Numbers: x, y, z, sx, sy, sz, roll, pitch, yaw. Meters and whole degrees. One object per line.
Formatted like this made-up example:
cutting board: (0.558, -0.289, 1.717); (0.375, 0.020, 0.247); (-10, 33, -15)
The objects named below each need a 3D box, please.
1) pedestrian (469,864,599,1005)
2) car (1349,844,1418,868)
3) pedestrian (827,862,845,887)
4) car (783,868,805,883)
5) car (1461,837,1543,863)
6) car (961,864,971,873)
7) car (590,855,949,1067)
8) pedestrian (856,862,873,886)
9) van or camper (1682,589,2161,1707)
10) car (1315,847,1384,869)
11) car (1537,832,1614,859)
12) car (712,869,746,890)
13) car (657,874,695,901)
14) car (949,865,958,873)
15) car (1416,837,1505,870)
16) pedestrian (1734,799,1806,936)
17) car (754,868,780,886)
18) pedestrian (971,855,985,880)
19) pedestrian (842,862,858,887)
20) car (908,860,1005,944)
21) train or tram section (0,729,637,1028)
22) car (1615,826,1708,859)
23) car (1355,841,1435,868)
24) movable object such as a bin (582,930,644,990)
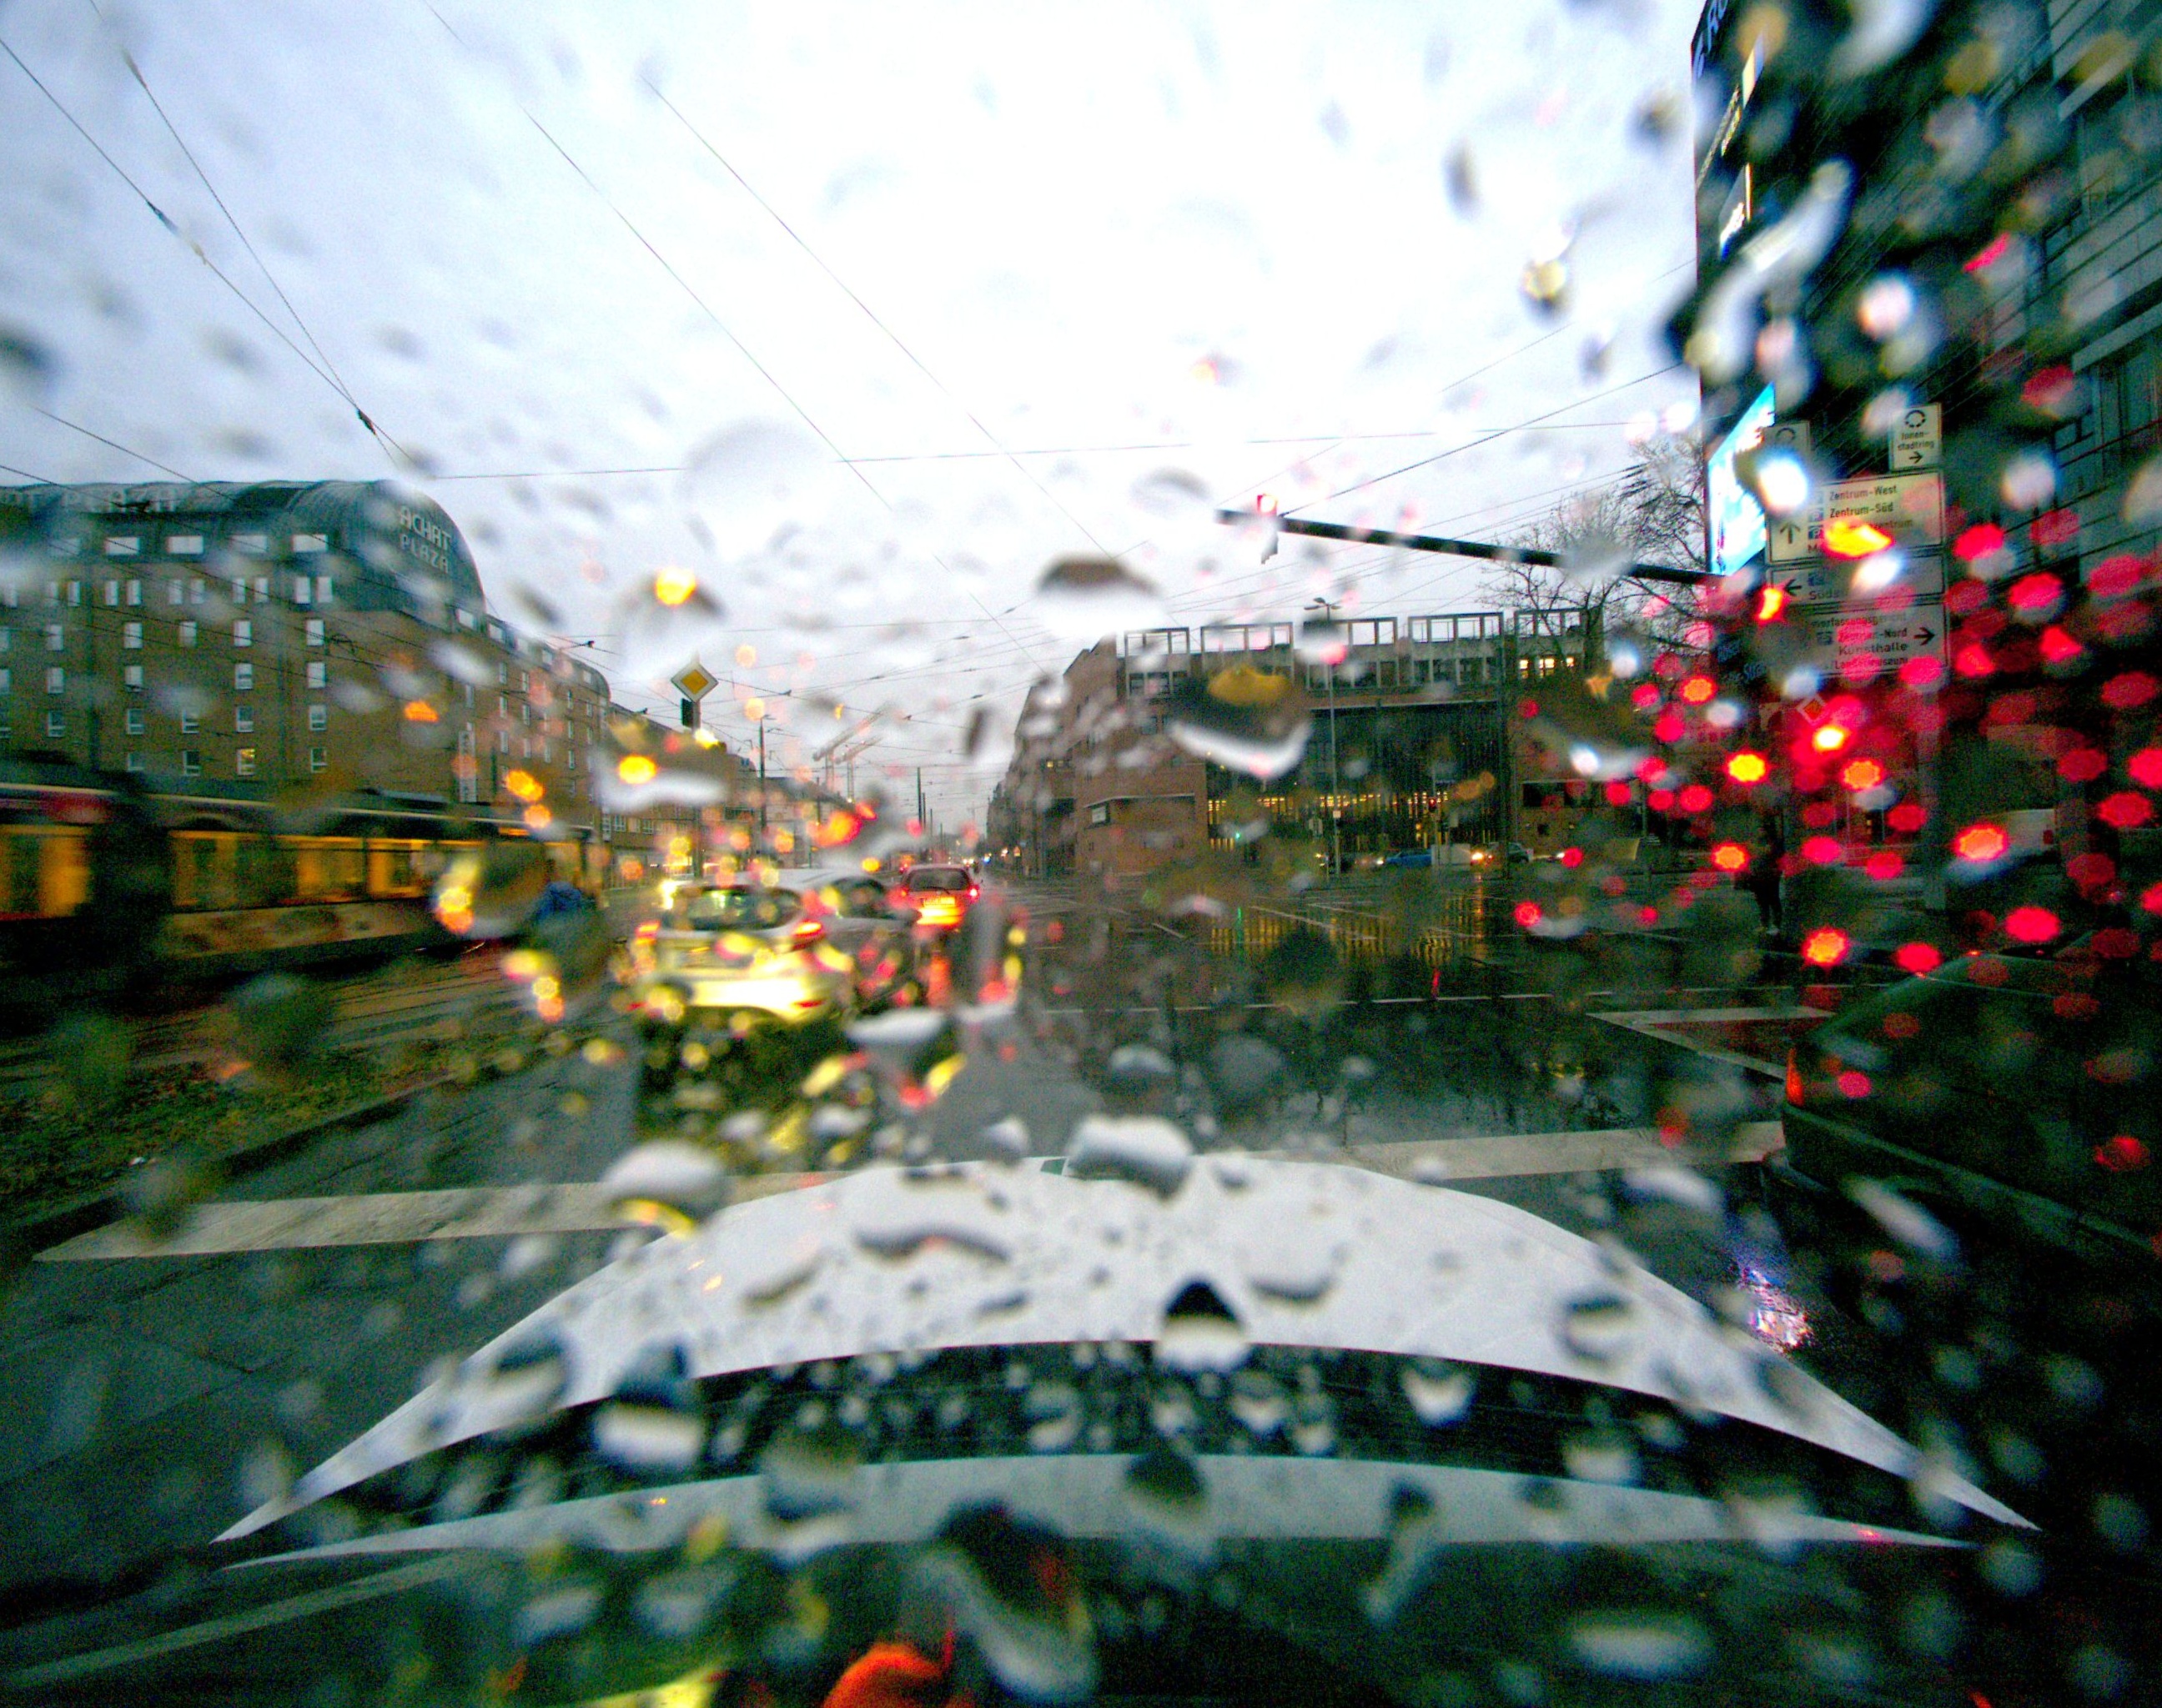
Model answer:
pedestrian: (-6.697, 0.954, 10.013); (0.707, 1.601, 1.043); (-4, -1, 27)
car: (19.142, 0.119, 51.590); (3.713, 1.263, 1.845); (-2, 4, -4)
pedestrian: (-19.546, 1.633, 64.990); (0.973, 2.014, 0.838); (-1, -1, 16)
car: (-32.365, 2.400, 91.843); (1.787, 1.624, 3.850); (-1, 0, -11)
car: (24.817, -0.257, 48.075); (3.979, 1.288, 1.845); (-2, 4, -4)
car: (-22.209, 2.834, 157.656); (1.868, 1.579, 3.991); (0, 0, -6)
car: (-2.583, 0.829, 7.880); (1.698, 1.448, 4.003); (-3, -2, 3)
pedestrian: (-17.927, 1.649, 67.397); (0.973, 2.014, 0.838); (-1, -1, 16)
van or camper: (2.675, 0.497, 0.294); (1.750, 1.906, 4.420); (-1, 0, 2)
car: (18.244, 0.291, 55.441); (3.977, 1.310, 1.998); (-2, 0, -2)
car: (32.157, -0.582, 53.071); (3.979, 1.504, 1.845); (-2, 4, -4)
car: (-29.677, 2.142, 68.729); (1.787, 1.624, 3.850); (-1, 0, -11)
car: (-26.224, 2.151, 52.759); (2.055, 1.561, 4.791); (-2, 0, -26)
car: (-26.845, 3.146, 171.745); (1.869, 1.579, 3.989); (0, 0, -8)
car: (20.431, -0.058, 43.889); (3.979, 1.504, 1.845); (-2, 4, -4)
pedestrian: (11.258, 0.218, 13.321); (0.574, 2.184, 0.619); (-1, -1, -4)
car: (-31.071, 2.277, 80.674); (1.787, 1.624, 3.850); (-1, 0, -11)
pedestrian: (-8.458, 1.103, 66.733); (1.069, 2.013, 0.682); (-2, 0, -12)
pedestrian: (-18.772, 1.642, 66.216); (0.973, 2.014, 0.838); (-1, -1, 16)
car: (-2.547, 0.883, 16.659); (1.698, 1.459, 3.745); (-2, 0, -9)
train or tram section: (-14.575, 0.368, 14.640); (2.856, 3.614, 19.203); (-2, 0, -1)
car: (32.245, -0.657, 45.327); (3.979, 1.600, 1.845); (-2, 4, -4)
car: (18.311, 0.014, 47.522); (3.979, 1.263, 1.845); (-2, 4, -4)
movable object such as a bin: (-6.082, 1.372, 10.598); (0.407, 0.699, 0.541); (-4, -2, 27)
